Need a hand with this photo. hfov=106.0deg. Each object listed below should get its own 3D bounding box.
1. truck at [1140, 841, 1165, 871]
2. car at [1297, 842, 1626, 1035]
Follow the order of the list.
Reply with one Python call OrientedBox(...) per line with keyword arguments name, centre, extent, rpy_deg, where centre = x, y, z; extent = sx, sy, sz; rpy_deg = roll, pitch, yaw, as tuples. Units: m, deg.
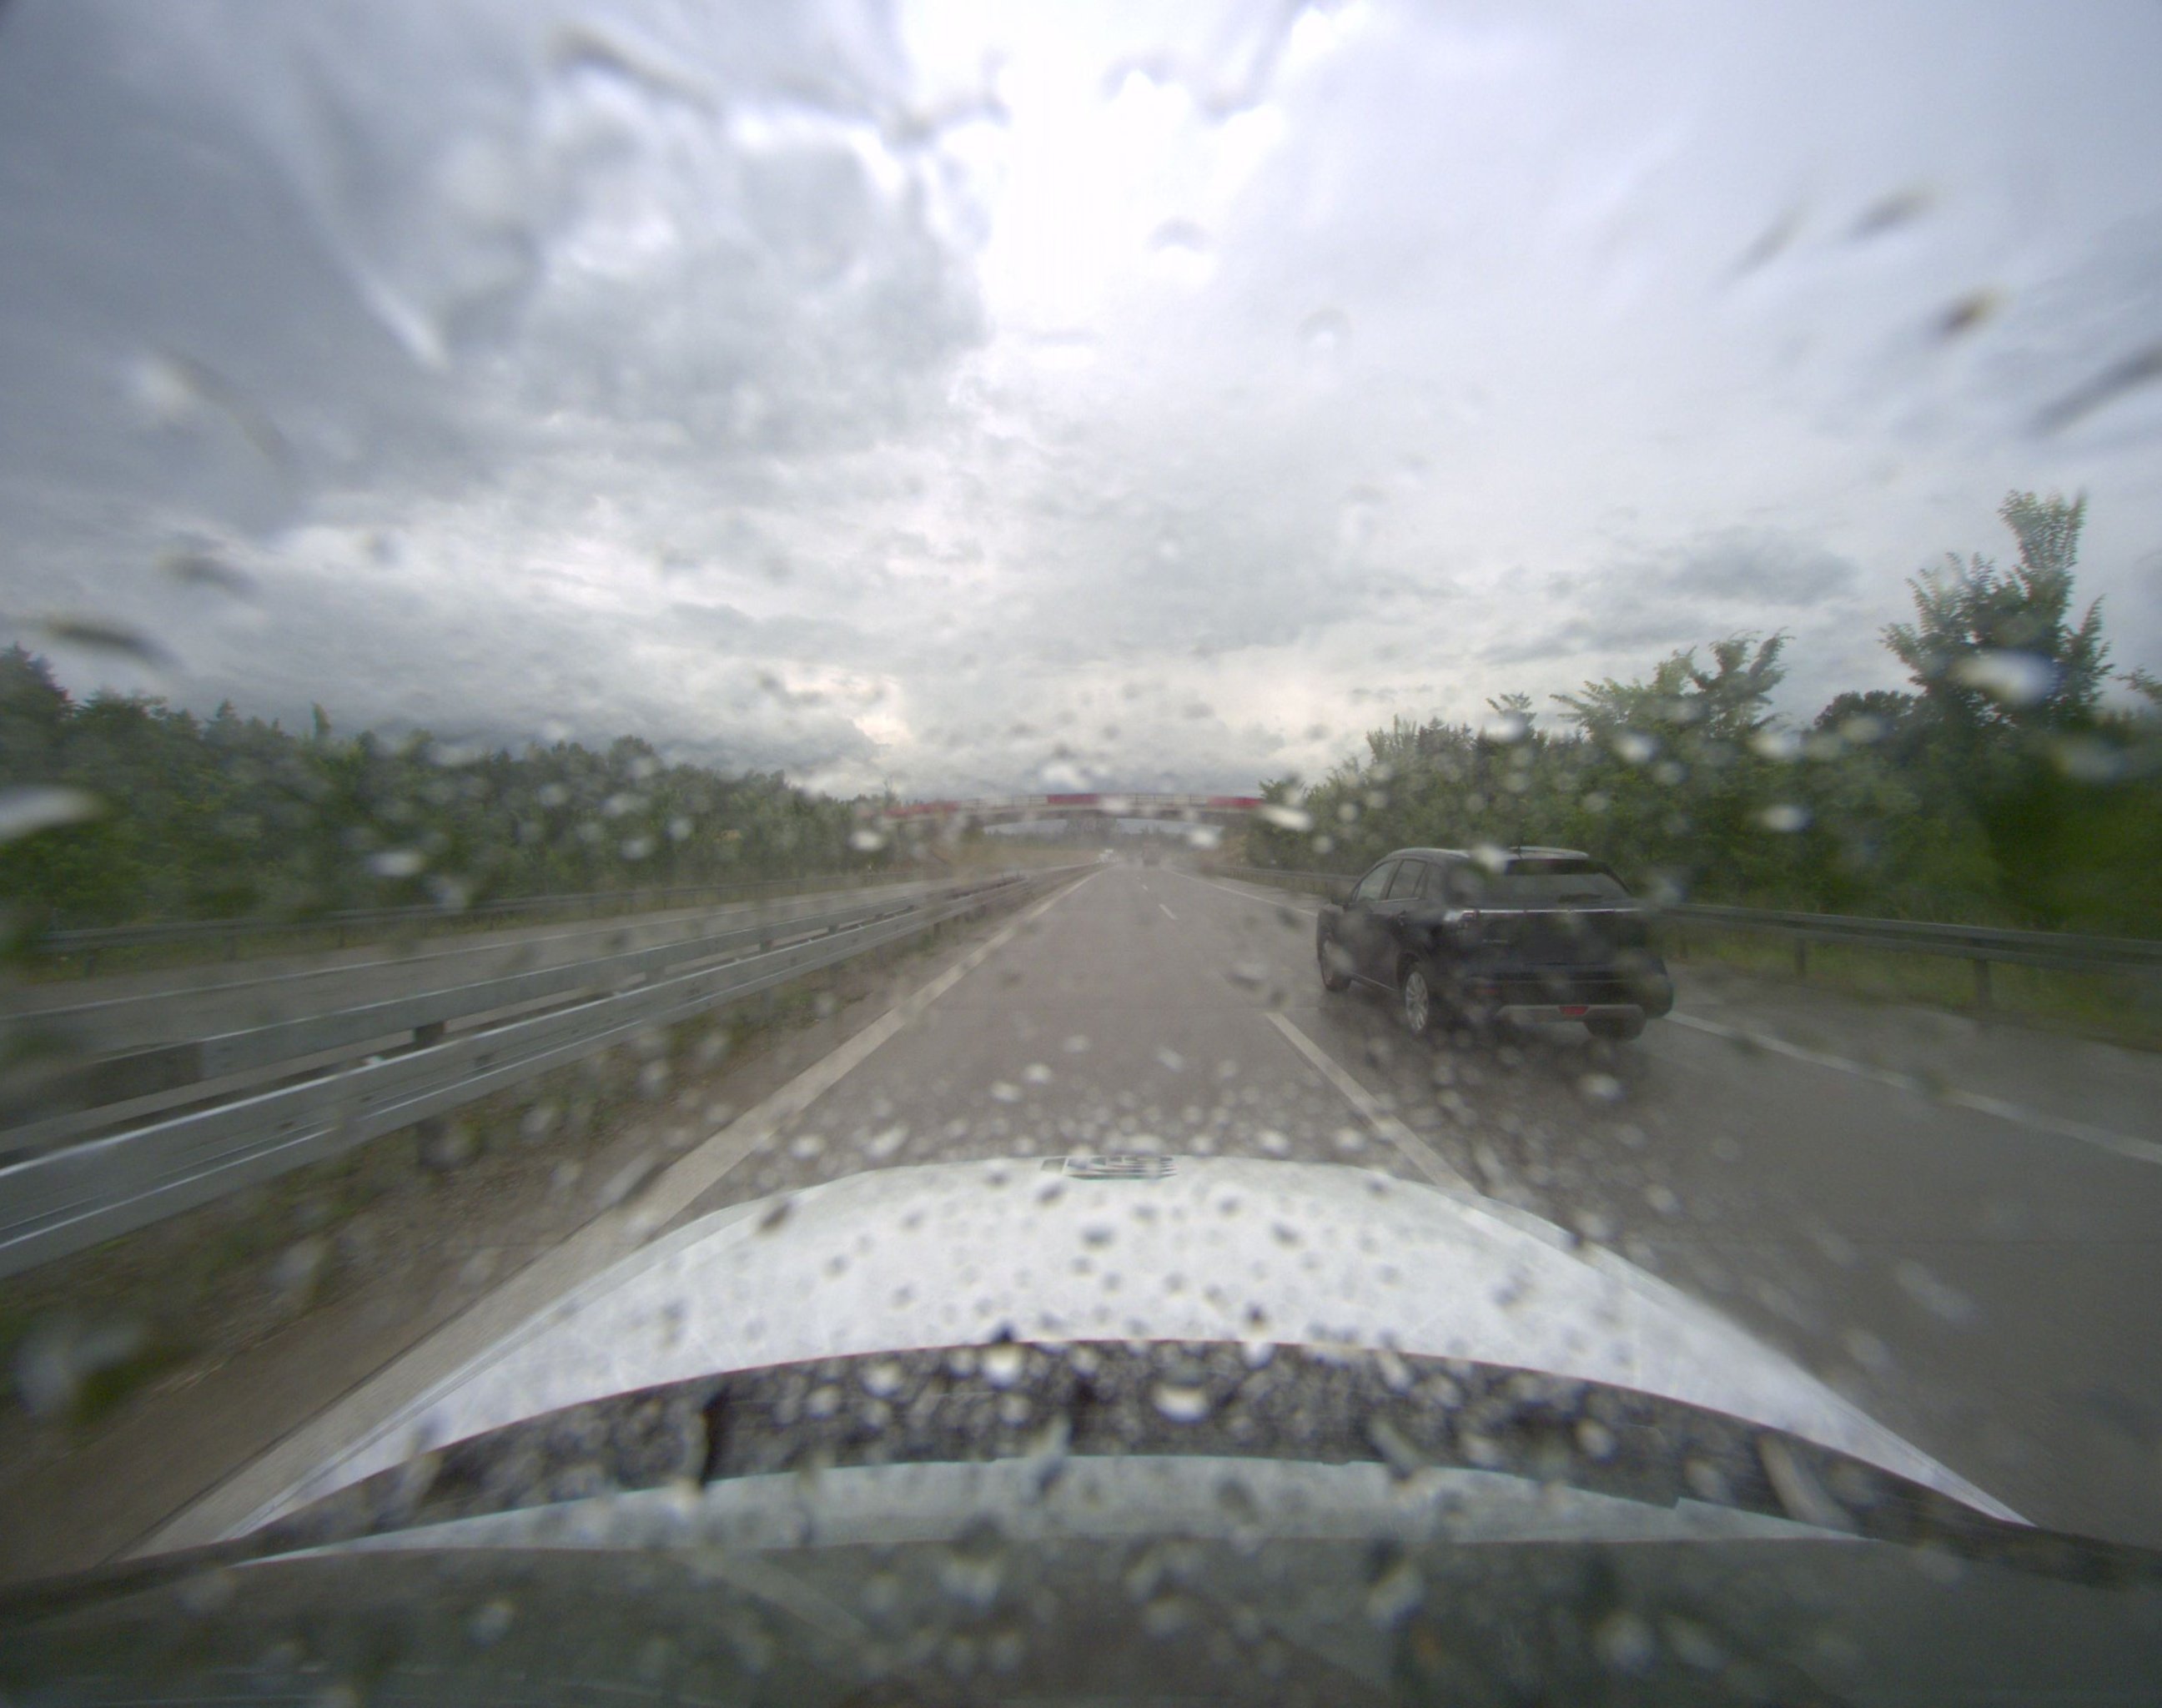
OrientedBox(name="truck", centre=(11.120, 0.203, 125.891), extent=(3.225, 4.437, 8.264), rpy_deg=(-1, 0, 8))
OrientedBox(name="car", centre=(3.595, 0.694, 8.493), extent=(1.886, 1.576, 3.634), rpy_deg=(0, 0, 3))
